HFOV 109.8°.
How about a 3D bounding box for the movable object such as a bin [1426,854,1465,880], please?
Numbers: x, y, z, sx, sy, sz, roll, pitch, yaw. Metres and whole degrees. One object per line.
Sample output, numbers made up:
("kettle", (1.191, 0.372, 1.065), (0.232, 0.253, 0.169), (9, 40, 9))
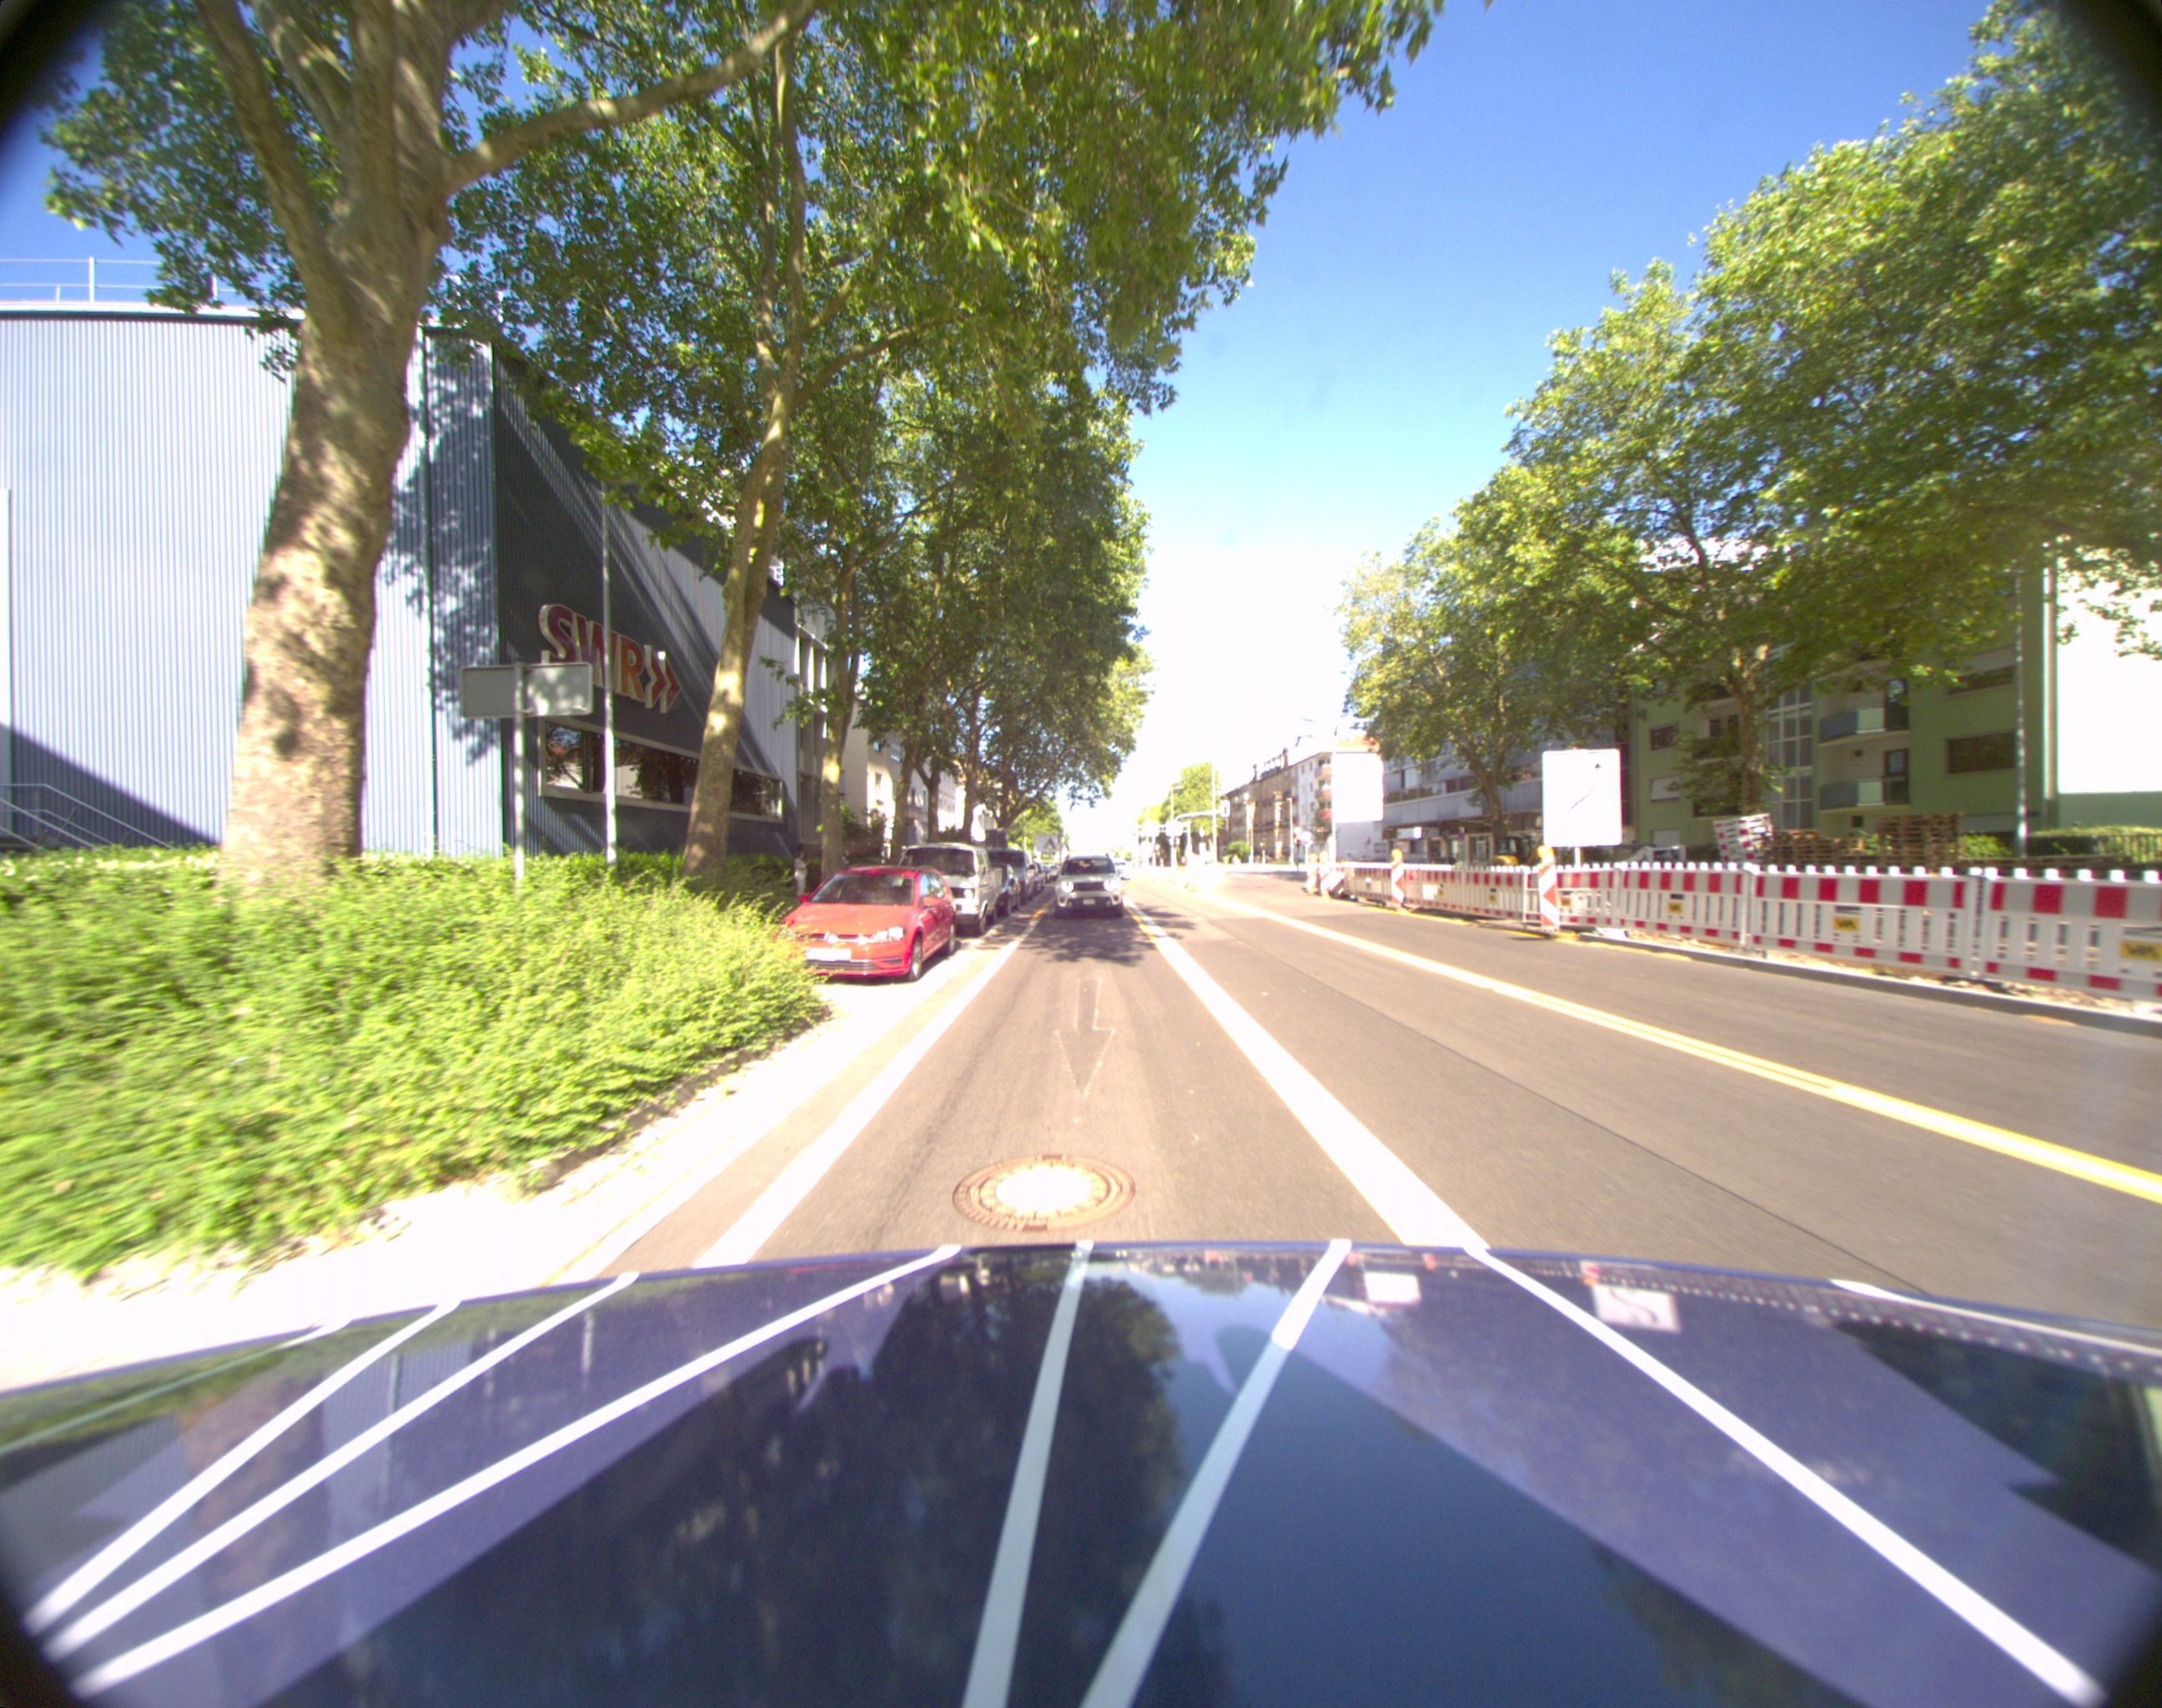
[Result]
("movable object such as a bin", (20.894, 0.731, 43.564), (1.637, 1.414, 1.260), (-1, 0, -25))

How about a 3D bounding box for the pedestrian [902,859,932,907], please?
("pedestrian", (-5.674, 0.976, 26.343), (0.730, 1.593, 1.267), (-1, 1, -2))

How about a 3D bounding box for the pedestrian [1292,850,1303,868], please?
("pedestrian", (20.644, 0.467, 72.552), (0.866, 1.701, 1.013), (-1, 0, 7))

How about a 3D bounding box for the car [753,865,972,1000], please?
("car", (-2.923, 0.972, 11.335), (1.826, 1.499, 4.677), (0, 0, 1))

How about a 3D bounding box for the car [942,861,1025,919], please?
("car", (-2.753, 0.978, 22.245), (1.752, 1.469, 4.101), (0, 0, 2))

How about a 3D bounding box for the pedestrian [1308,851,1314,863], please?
("pedestrian", (28.402, 0.356, 93.897), (0.601, 1.488, 0.695), (-1, 1, 4))

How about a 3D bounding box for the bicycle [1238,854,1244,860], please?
("bicycle", (27.500, 0.581, 130.615), (0.468, 0.999, 2.250), (-3, -1, -1))

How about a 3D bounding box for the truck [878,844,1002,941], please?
("truck", (-2.946, 0.727, 16.894), (1.881, 1.870, 4.453), (0, 0, 1))

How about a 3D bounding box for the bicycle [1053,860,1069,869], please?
("bicycle", (-2.510, 1.345, 95.893), (1.967, 1.019, 0.605), (-3, 0, 0))

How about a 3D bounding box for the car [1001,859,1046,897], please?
("car", (-2.578, 1.033, 34.681), (1.661, 1.531, 4.128), (-2, 0, 0))

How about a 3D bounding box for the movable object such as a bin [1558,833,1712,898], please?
("movable object such as a bin", (20.925, 0.382, 29.084), (1.998, 2.265, 5.599), (0, 0, 3))

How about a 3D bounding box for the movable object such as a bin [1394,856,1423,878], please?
("movable object such as a bin", (20.548, 0.802, 47.725), (1.413, 1.330, 0.936), (-1, 0, 2))

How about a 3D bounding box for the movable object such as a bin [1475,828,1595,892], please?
("movable object such as a bin", (20.854, 0.265, 35.265), (2.152, 2.690, 5.353), (-1, 0, -3))

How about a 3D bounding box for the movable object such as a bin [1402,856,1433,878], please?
("movable object such as a bin", (20.655, 0.784, 46.690), (1.413, 1.330, 1.069), (-1, 0, 2))

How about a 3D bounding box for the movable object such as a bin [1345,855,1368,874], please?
("movable object such as a bin", (21.071, 0.797, 58.152), (1.116, 1.380, 1.856), (-1, 0, 2))

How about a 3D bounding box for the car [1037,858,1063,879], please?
("car", (-2.356, 1.086, 58.899), (1.857, 1.471, 4.941), (-1, 0, -1))

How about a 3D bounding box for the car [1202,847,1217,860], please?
("car", (25.950, -0.036, 153.620), (2.250, 2.431, 5.288), (1, -1, 1))

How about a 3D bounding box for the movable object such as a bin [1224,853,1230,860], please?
("movable object such as a bin", (26.929, 0.480, 140.361), (0.895, 1.352, 1.474), (1, -1, 2))

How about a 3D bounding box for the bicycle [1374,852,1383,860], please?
("bicycle", (36.034, 0.272, 92.070), (0.575, 0.963, 1.737), (-1, 0, 5))

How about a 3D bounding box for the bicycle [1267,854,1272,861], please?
("bicycle", (27.548, 0.486, 111.024), (0.305, 0.952, 1.940), (-1, 0, 1))

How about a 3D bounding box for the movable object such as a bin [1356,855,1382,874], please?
("movable object such as a bin", (21.150, 0.764, 55.815), (1.217, 1.380, 1.856), (-1, 0, 2))

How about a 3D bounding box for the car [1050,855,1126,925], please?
("car", (0.284, 0.908, 20.122), (1.743, 1.647, 3.692), (-1, -2, 4))

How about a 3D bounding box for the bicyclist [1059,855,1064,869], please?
("bicyclist", (-2.463, 0.995, 95.837), (0.605, 1.698, 0.858), (-1, 0, 0))

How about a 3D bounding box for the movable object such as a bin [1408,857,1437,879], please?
("movable object such as a bin", (20.391, 0.853, 45.391), (0.982, 1.263, 1.540), (-1, 0, 0))

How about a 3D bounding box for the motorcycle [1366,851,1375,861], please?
("motorcycle", (34.610, 0.234, 90.953), (0.612, 1.135, 1.784), (-1, 0, 9))

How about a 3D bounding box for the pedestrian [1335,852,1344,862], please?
("pedestrian", (30.585, 0.355, 89.868), (0.719, 1.146, 0.788), (-1, 0, -12))

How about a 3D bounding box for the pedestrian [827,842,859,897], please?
("pedestrian", (-7.377, 0.495, 23.570), (0.707, 1.639, 0.675), (-3, -2, -3))

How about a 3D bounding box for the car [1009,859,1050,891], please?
("car", (-2.634, 1.044, 39.673), (1.768, 1.499, 4.250), (-1, 0, 0))

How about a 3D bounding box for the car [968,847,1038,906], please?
("car", (-2.752, 0.755, 27.991), (2.031, 1.935, 5.273), (-1, 0, 0))

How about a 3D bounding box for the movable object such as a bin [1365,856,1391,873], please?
("movable object such as a bin", (21.099, 0.746, 54.077), (1.397, 1.196, 1.241), (-1, 0, 3))
